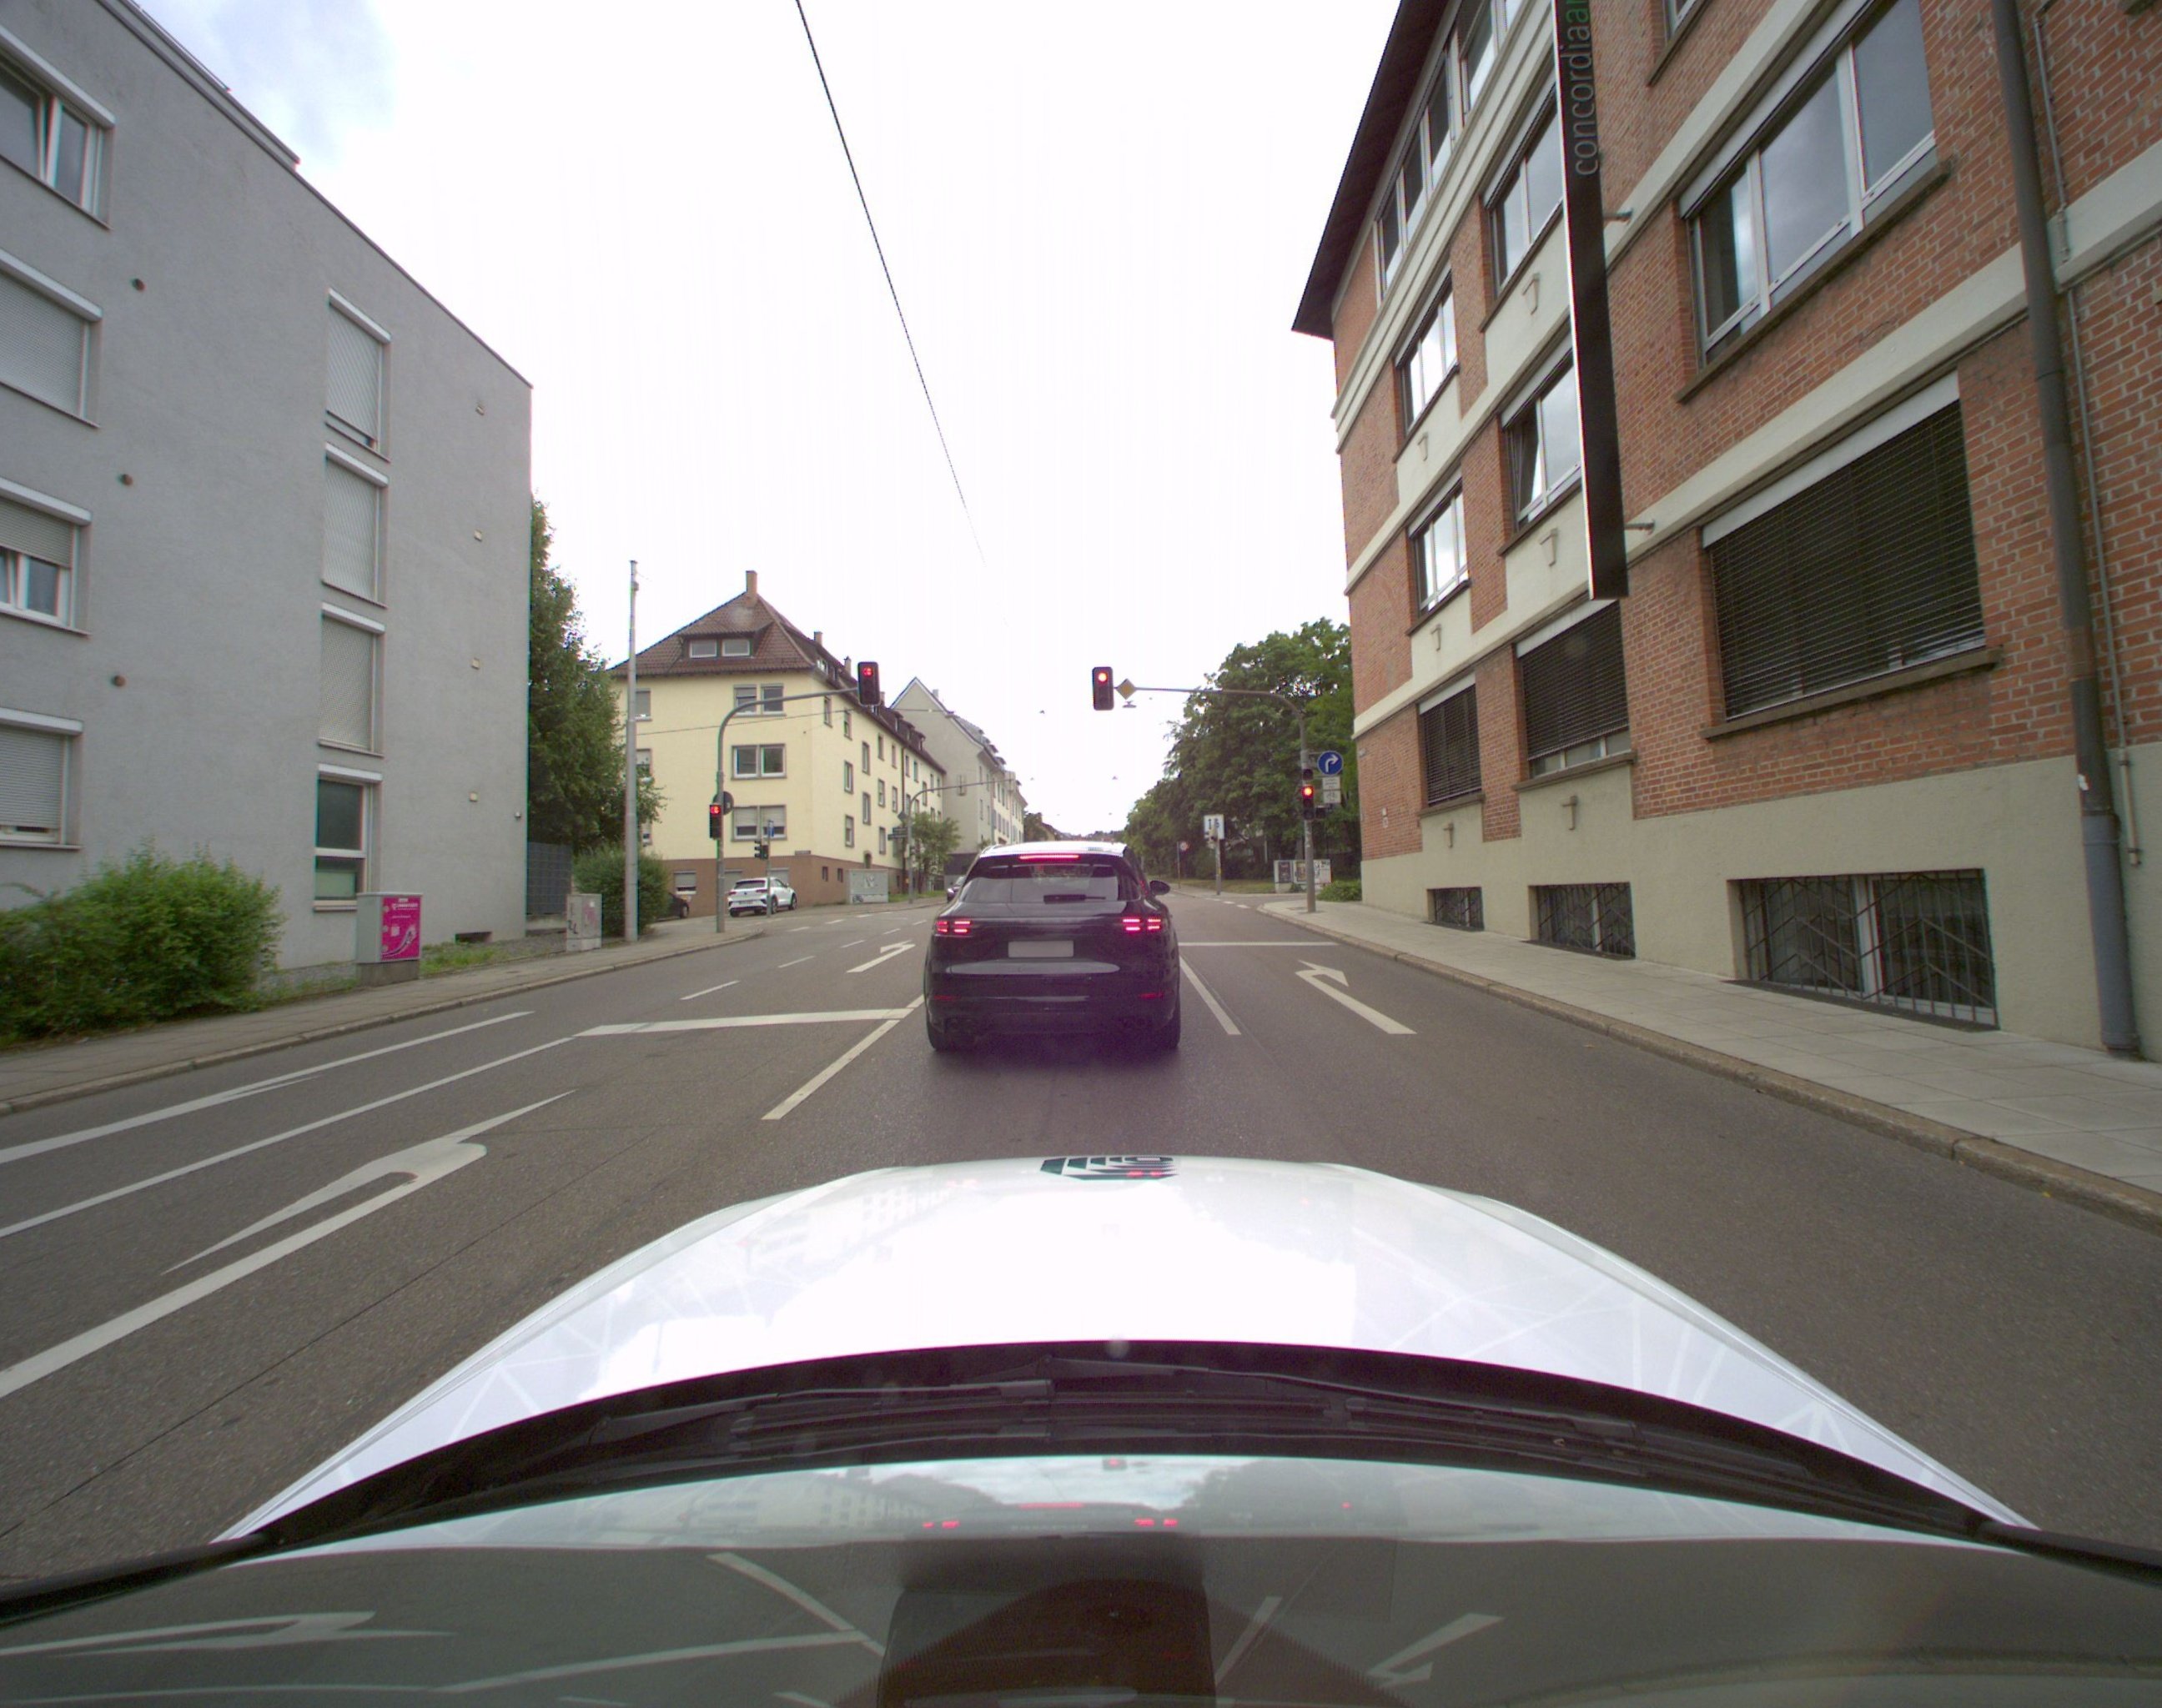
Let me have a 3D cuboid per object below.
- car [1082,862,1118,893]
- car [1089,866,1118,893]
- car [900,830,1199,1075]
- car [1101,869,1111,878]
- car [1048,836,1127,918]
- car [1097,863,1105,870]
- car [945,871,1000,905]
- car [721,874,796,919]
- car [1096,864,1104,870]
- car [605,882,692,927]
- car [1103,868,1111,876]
[{"bbox_3d":[1.068,1.241,44.283,1.820,1.605,4.137,0,0,2],"label":"car"},{"bbox_3d":[1.485,1.619,52.991,1.820,1.605,3.861,0,0,2],"label":"car"},{"bbox_3d":[-0.138,0.675,7.696,2.040,1.666,4.269,0,0,2],"label":"car"},{"bbox_3d":[5.008,3.859,161.609,1.820,1.605,4.137,0,0,2],"label":"car"},{"bbox_3d":[0.235,0.572,22.375,1.957,2.042,4.137,0,0,2],"label":"car"},{"bbox_3d":[5.151,3.228,210.729,1.820,1.605,4.137,0,0,2],"label":"car"},{"bbox_3d":[-5.136,1.577,39.230,1.778,1.418,4.672,-4,-1,2],"label":"car"},{"bbox_3d":[-13.556,1.748,34.453,1.686,1.555,3.763,-4,0,-2],"label":"car"},{"bbox_3d":[4.730,3.254,203.407,1.820,1.605,4.137,0,0,2],"label":"car"},{"bbox_3d":[-18.485,2.110,34.999,1.686,1.608,3.763,-4,0,-2],"label":"car"},{"bbox_3d":[5.932,4.090,182.884,1.820,1.605,4.137,0,0,2],"label":"car"}]
